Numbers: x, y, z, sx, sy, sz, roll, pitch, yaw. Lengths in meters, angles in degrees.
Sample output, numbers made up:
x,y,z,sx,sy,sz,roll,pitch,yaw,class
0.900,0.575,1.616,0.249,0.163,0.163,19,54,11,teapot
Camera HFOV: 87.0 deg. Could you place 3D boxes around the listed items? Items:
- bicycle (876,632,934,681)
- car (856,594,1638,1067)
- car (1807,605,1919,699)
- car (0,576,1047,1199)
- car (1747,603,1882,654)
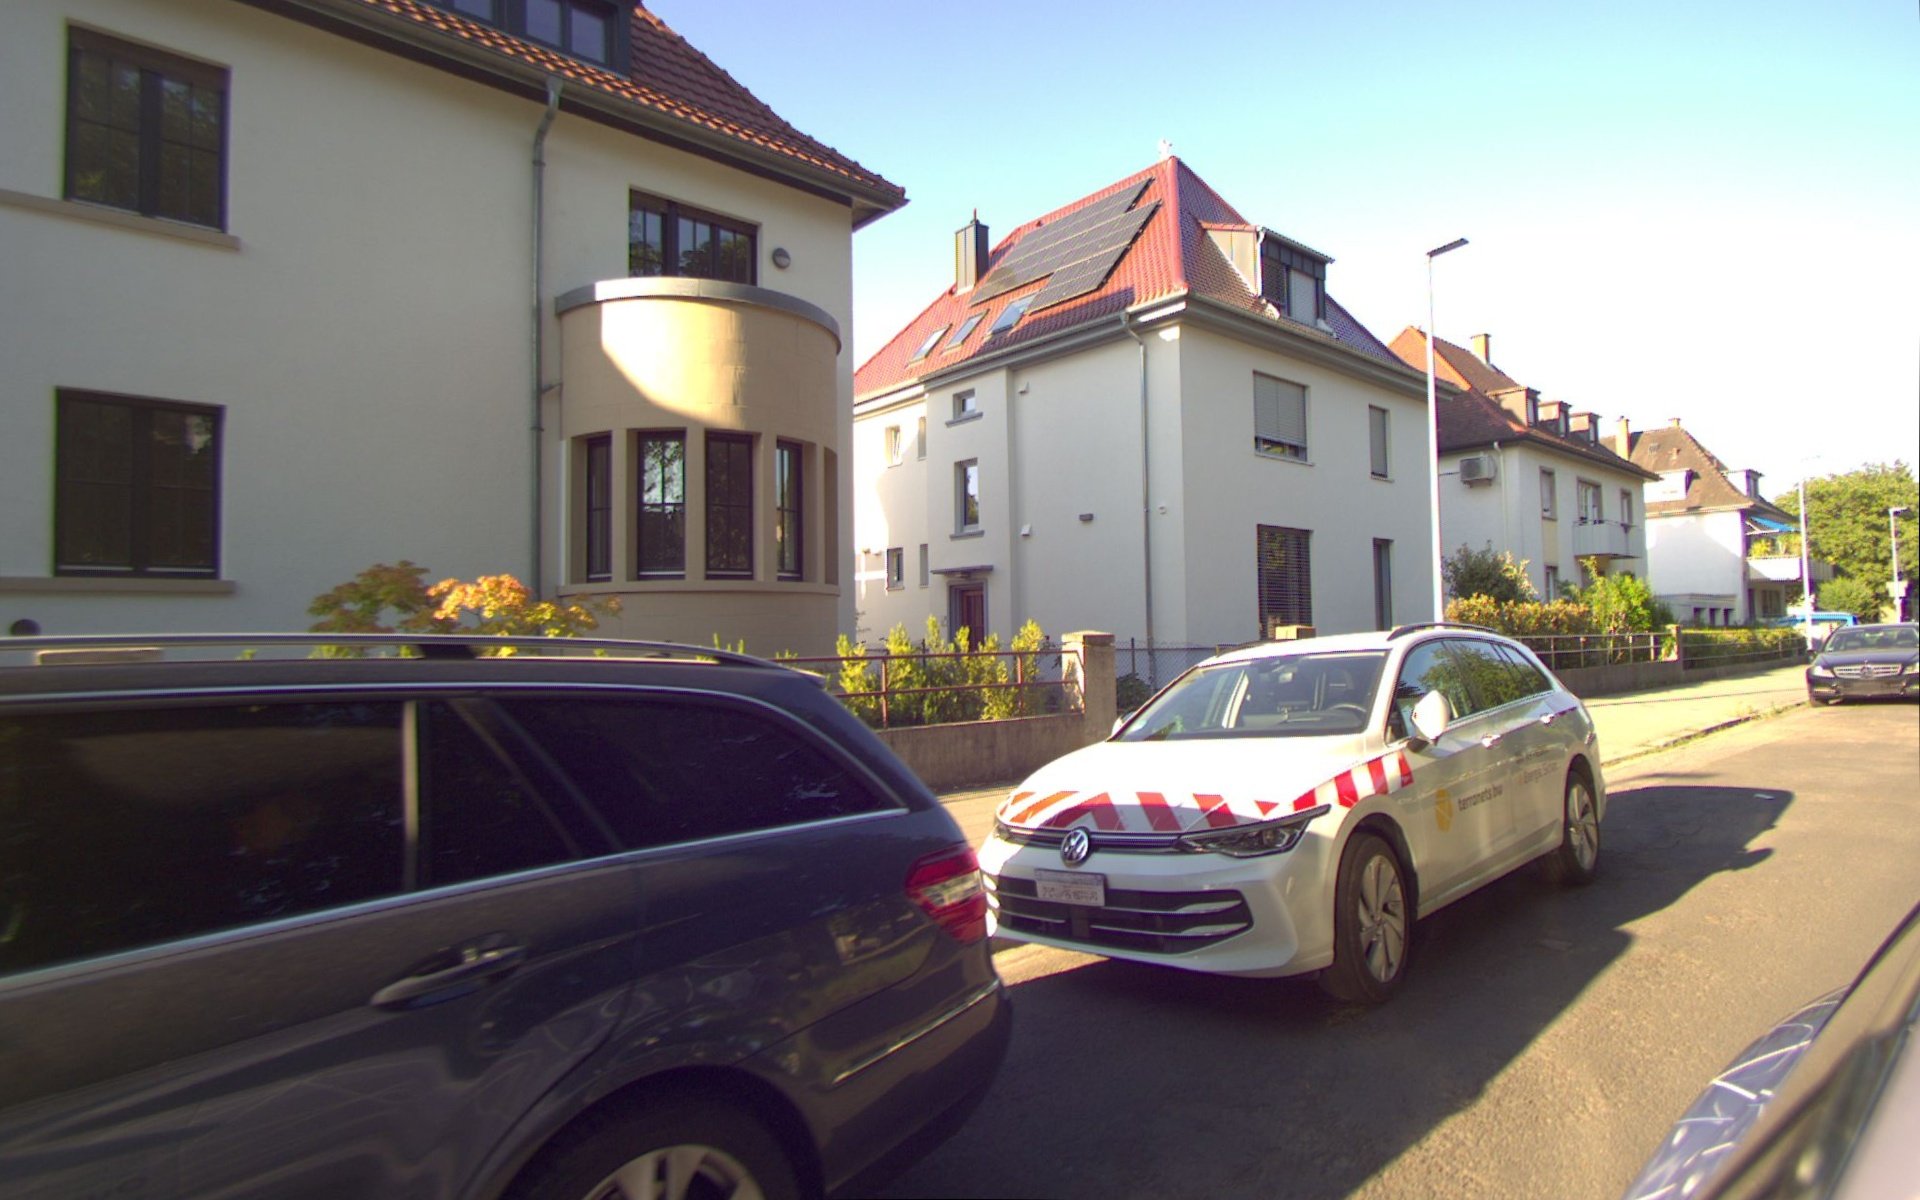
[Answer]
x,y,z,sx,sy,sz,roll,pitch,yaw,class
-1.345,1.369,24.625,0.399,1.157,1.722,1,-3,-42,bicycle
1.848,0.851,5.498,4.473,1.484,1.994,1,-7,-44,car
17.067,0.917,18.497,4.322,1.519,1.780,1,-6,-43,car
-2.097,0.785,1.599,4.514,1.482,1.781,1,-6,-41,car
34.967,1.198,41.493,1.967,1.953,3.988,1,-4,-44,car
